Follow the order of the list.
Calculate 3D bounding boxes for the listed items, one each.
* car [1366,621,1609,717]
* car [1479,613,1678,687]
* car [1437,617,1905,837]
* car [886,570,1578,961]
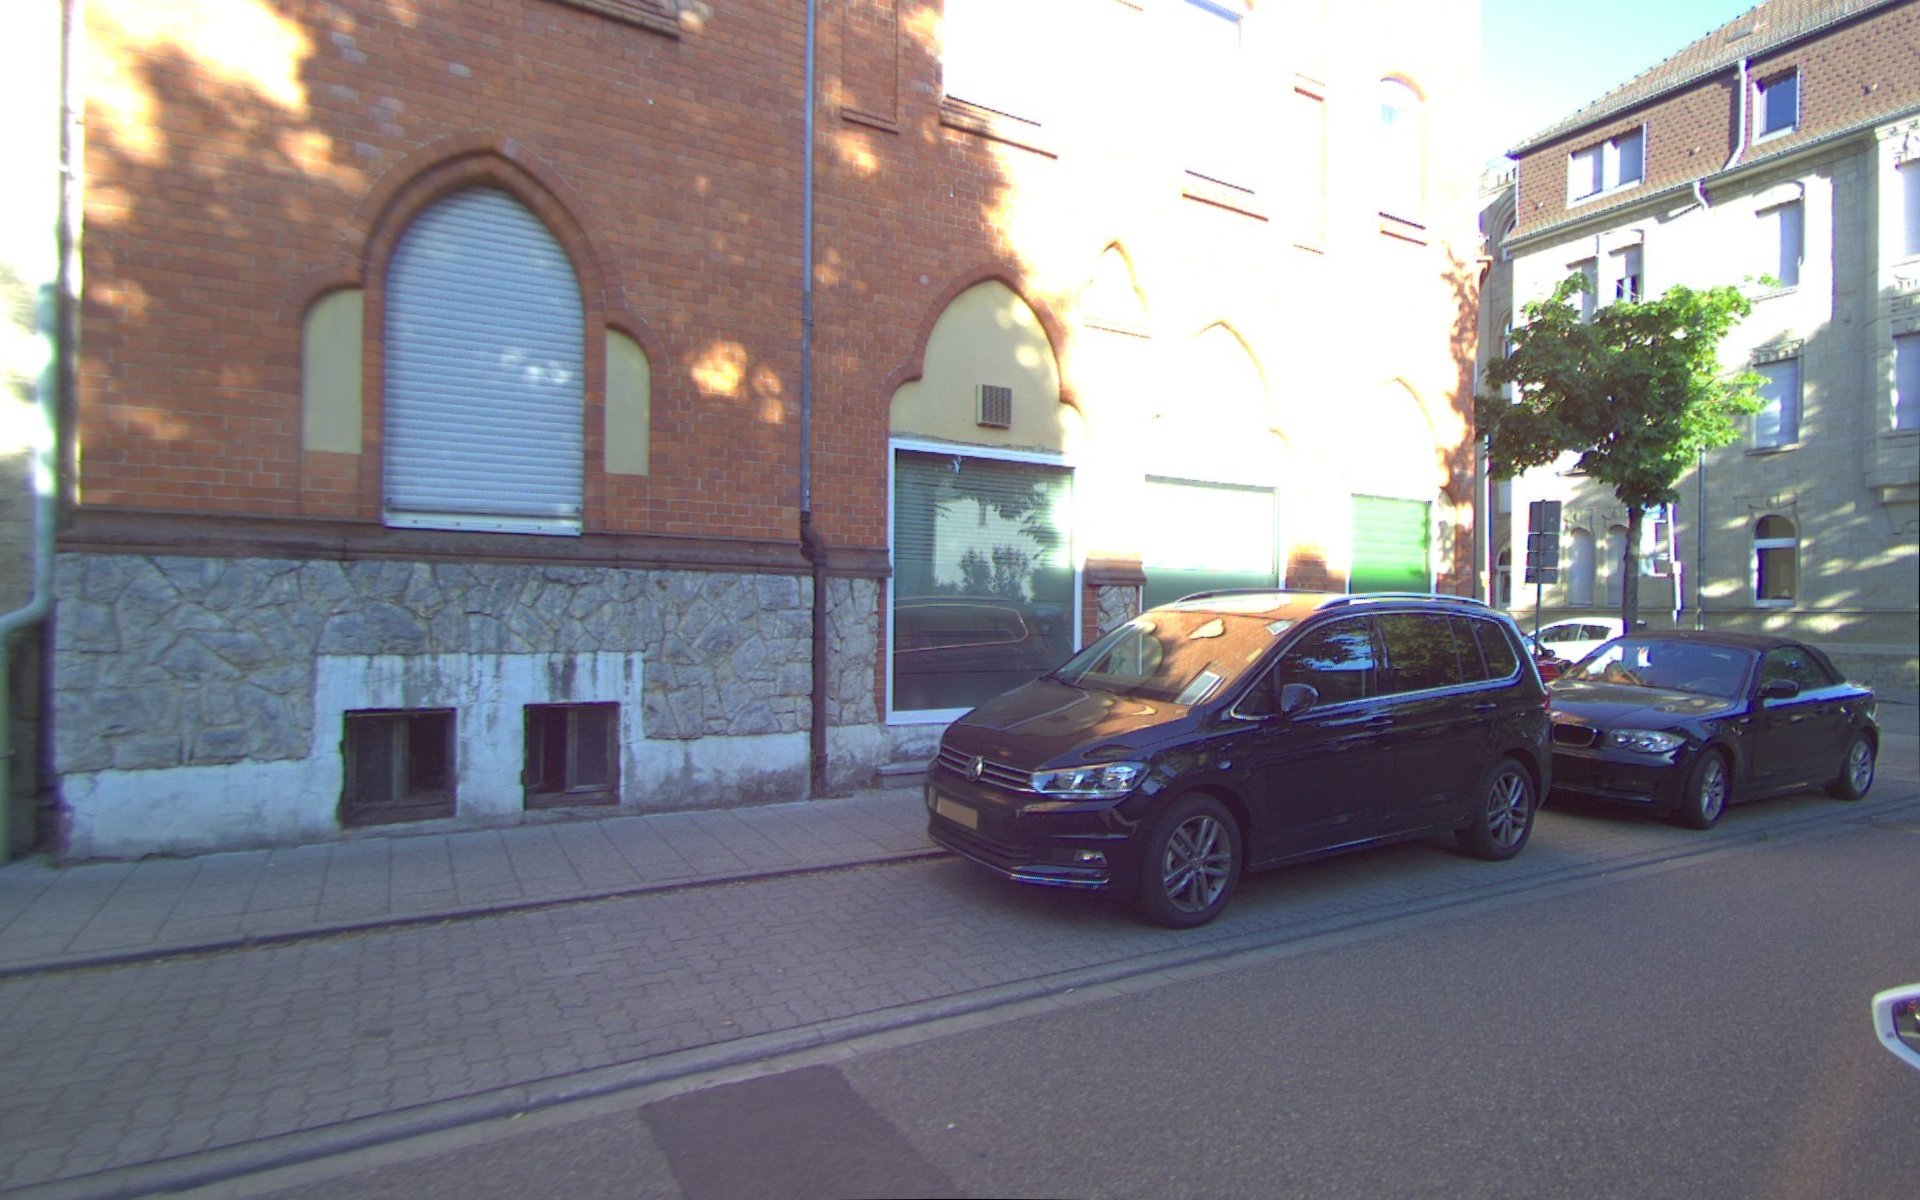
[{"bbox_3d":[9.474,1.161,17.942,4.603,1.488,1.628,1,0,-30],"label":"car"},{"bbox_3d":[14.995,1.142,24.526,1.699,1.571,3.776,-3,1,-31],"label":"car"},{"bbox_3d":[6.224,0.927,8.681,4.282,1.429,1.628,1,1,-30],"label":"car"},{"bbox_3d":[1.836,0.755,6.233,4.302,1.703,1.660,1,0,-32],"label":"car"}]
